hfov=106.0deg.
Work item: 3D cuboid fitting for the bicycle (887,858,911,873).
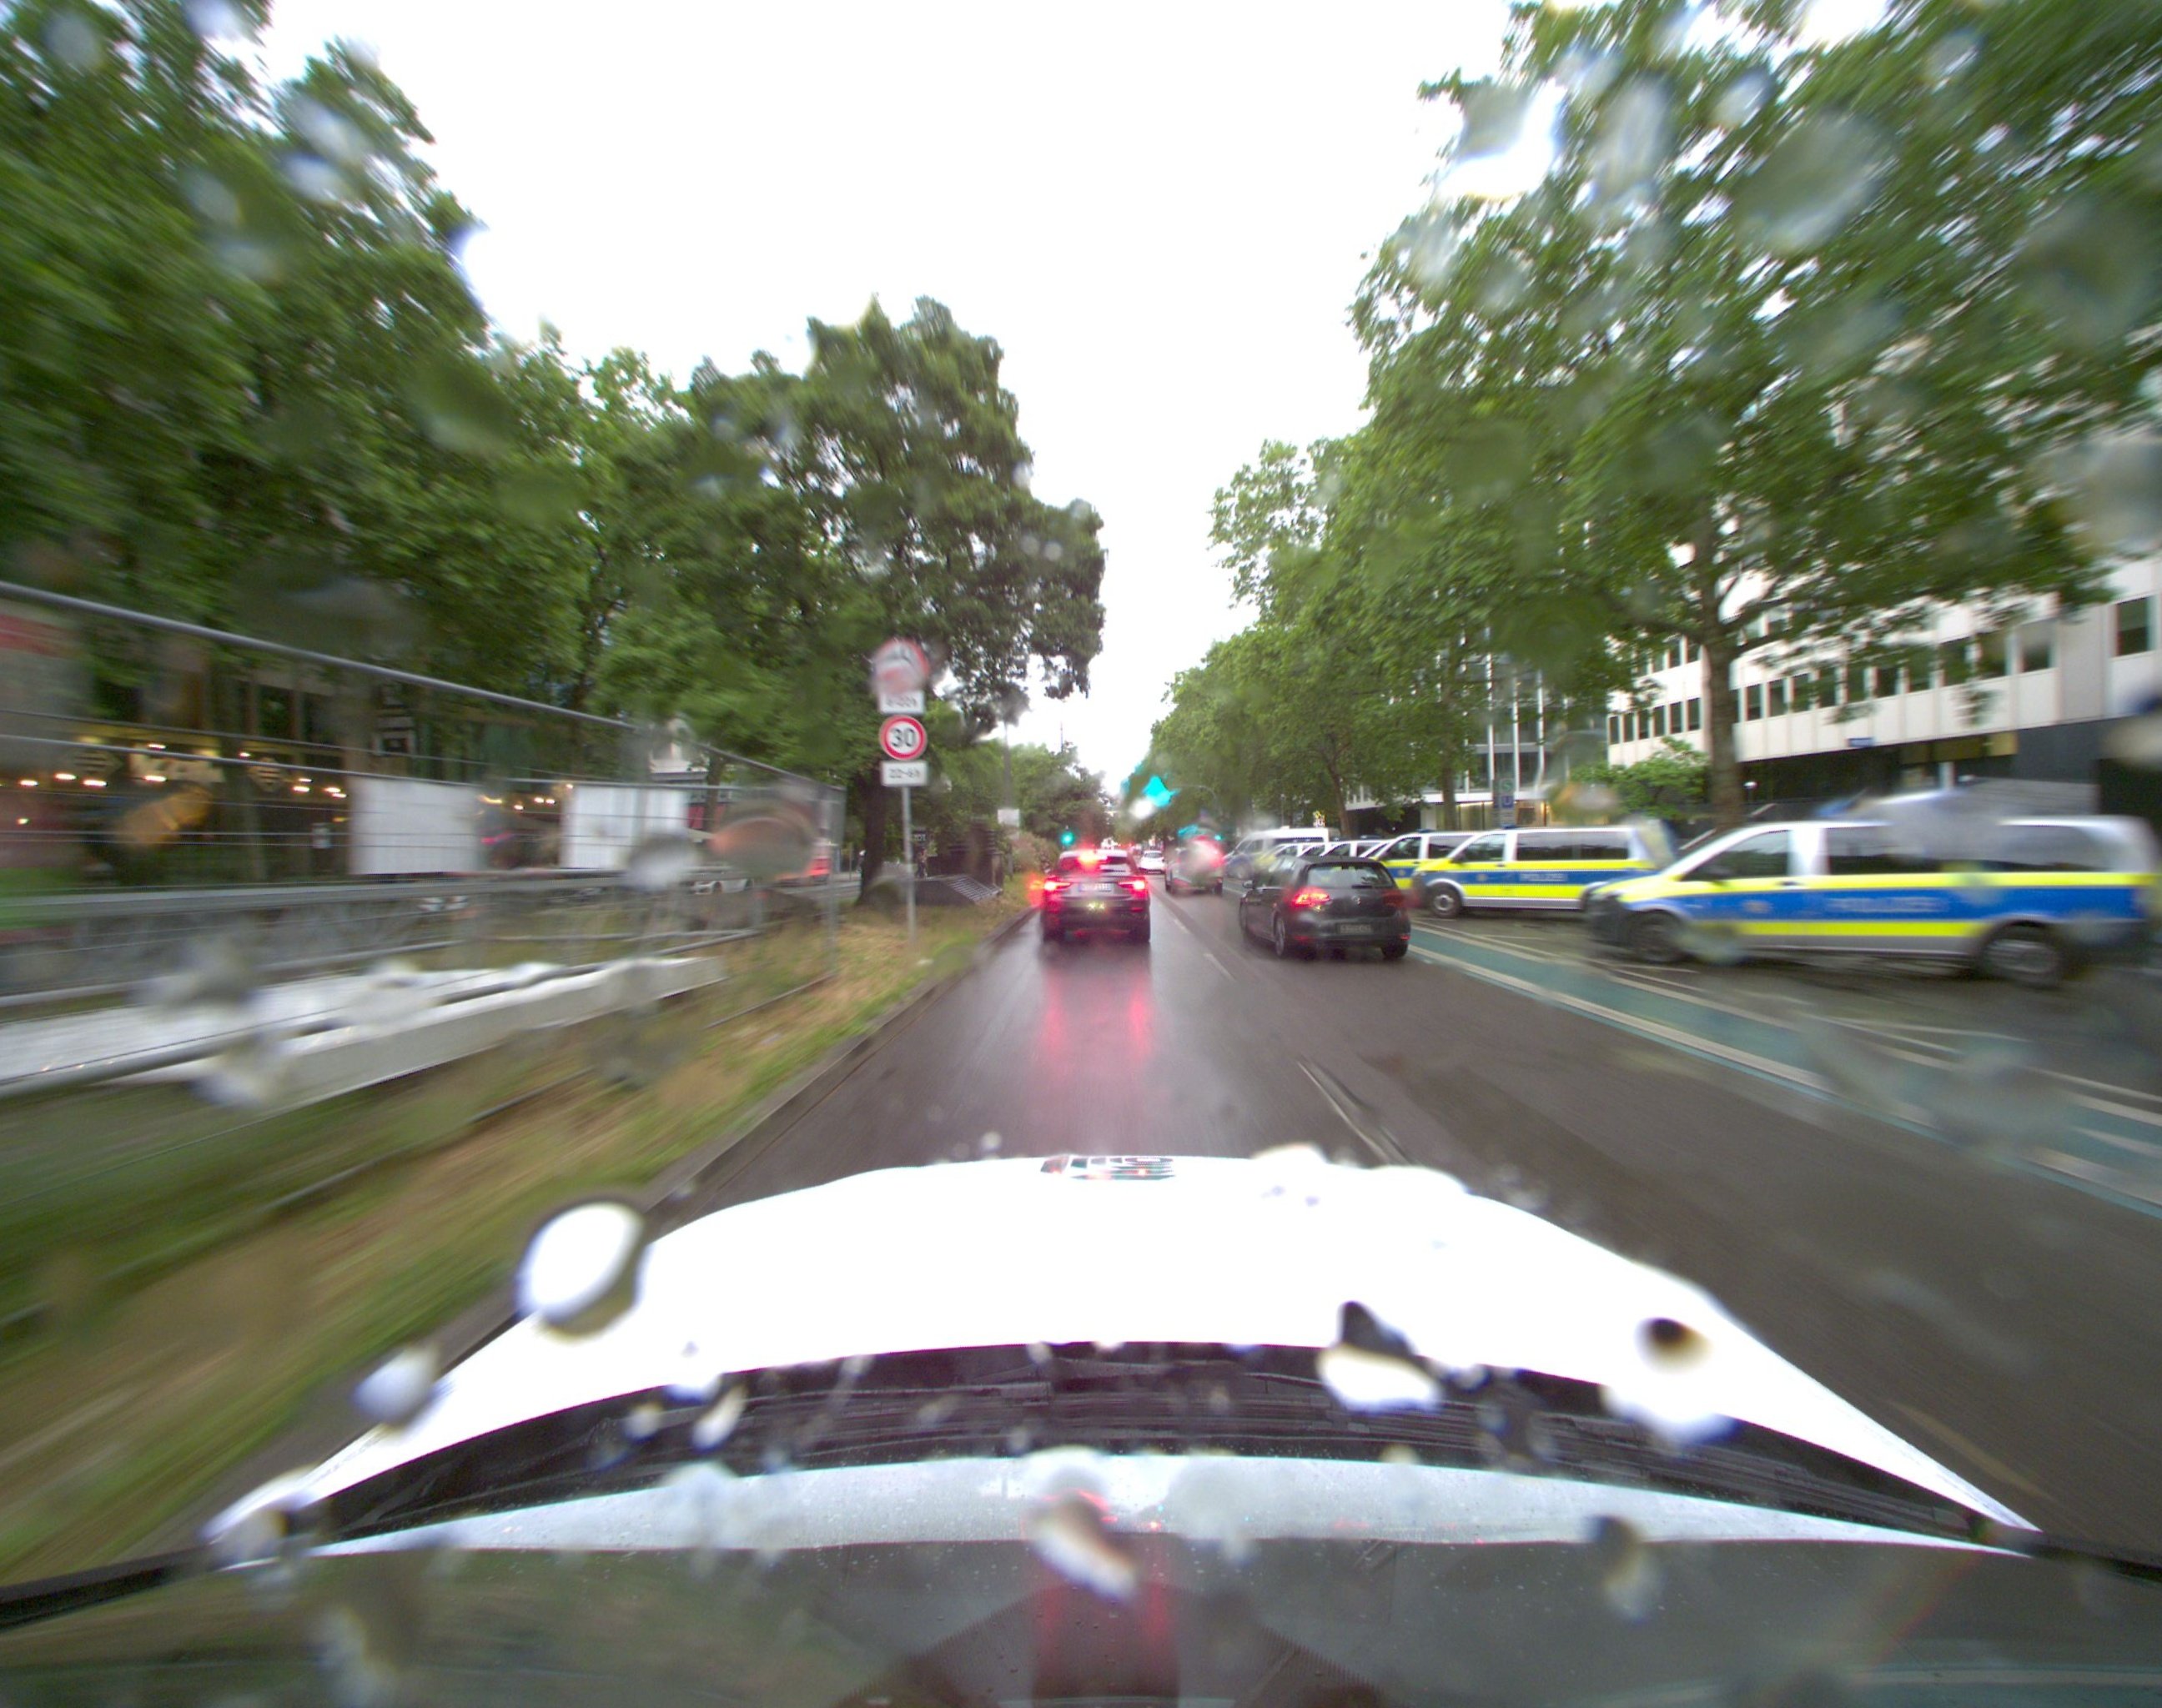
[{"bbox_3d":[-15.183,0.939,67.857,1.841,1.149,0.565,-2,0,-5],"label":"bicycle"}]

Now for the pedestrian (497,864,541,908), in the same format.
[{"bbox_3d":[-18.307,1.032,26.529,0.761,1.380,0.933,-1,0,-1],"label":"pedestrian"}]

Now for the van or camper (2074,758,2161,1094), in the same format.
[{"bbox_3d":[8.707,0.417,3.783,4.884,1.992,2.015,0,0,40],"label":"van or camper"}]

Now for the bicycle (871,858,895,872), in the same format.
[{"bbox_3d":[-15.969,0.891,65.671,1.818,1.097,0.565,-1,0,-6],"label":"bicycle"}]

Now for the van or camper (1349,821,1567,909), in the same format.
[{"bbox_3d":[9.632,0.273,20.993,4.733,2.011,2.013,-1,0,38],"label":"van or camper"}]

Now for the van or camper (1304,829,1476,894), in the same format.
[{"bbox_3d":[10.440,0.250,27.761,5.042,2.025,2.119,-1,0,39],"label":"van or camper"}]

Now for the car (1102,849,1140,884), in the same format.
[{"bbox_3d":[1.899,0.554,39.493,1.715,1.577,3.963,-1,0,2],"label":"car"}]

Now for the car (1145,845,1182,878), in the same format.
[{"bbox_3d":[4.679,0.417,46.517,1.815,1.750,4.003,-2,0,2],"label":"car"}]

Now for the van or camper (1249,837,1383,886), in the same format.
[{"bbox_3d":[10.020,0.308,34.897,5.142,1.992,2.013,0,0,36],"label":"van or camper"}]

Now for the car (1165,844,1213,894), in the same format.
[{"bbox_3d":[3.867,0.510,29.456,1.427,1.685,2.981,-2,0,2],"label":"car"}]

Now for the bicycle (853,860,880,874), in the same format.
[{"bbox_3d":[-16.029,0.953,60.927,1.839,0.979,0.566,-1,0,-1],"label":"bicycle"}]

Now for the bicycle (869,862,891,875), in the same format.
[{"bbox_3d":[-15.787,1.113,64.001,1.615,0.962,0.508,-1,0,-6],"label":"bicycle"}]

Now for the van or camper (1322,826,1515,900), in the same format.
[{"bbox_3d":[9.987,0.284,24.255,4.959,1.995,2.013,-1,0,34],"label":"van or camper"}]

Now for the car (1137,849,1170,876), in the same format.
[{"bbox_3d":[4.897,0.535,55.275,1.986,1.750,4.003,-2,0,2],"label":"car"}]

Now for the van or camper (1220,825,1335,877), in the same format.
[{"bbox_3d":[10.780,-0.151,44.857,5.741,2.677,2.161,-1,0,39],"label":"van or camper"}]

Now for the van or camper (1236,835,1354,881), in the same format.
[{"bbox_3d":[10.083,0.225,38.563,4.952,2.014,2.013,-2,-1,37],"label":"van or camper"}]

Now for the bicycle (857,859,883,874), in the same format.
[{"bbox_3d":[-16.007,0.922,61.818,1.842,1.098,0.613,-1,0,-6],"label":"bicycle"}]

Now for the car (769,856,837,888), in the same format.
[{"bbox_3d":[-14.743,0.900,43.435,1.987,1.509,4.518,-2,0,0],"label":"car"}]

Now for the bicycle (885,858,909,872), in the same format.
[{"bbox_3d":[-15.161,0.897,67.234,1.841,1.136,0.565,-2,0,-5],"label":"bicycle"}]

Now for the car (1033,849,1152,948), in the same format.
[{"bbox_3d":[0.319,0.689,15.130,1.855,1.532,4.531,-1,0,3],"label":"car"}]

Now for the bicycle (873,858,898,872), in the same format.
[{"bbox_3d":[-15.953,0.906,66.472,1.842,1.136,0.565,-1,0,-6],"label":"bicycle"}]

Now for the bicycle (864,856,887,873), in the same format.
[{"bbox_3d":[-15.793,0.832,62.572,1.615,1.241,0.508,-1,0,-6],"label":"bicycle"}]

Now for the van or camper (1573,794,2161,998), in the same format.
[{"bbox_3d":[9.321,0.399,10.375,5.023,2.019,2.010,0,0,38],"label":"van or camper"}]

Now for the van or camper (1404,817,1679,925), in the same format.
[{"bbox_3d":[9.592,0.329,17.179,4.792,1.998,1.880,-1,0,38],"label":"van or camper"}]

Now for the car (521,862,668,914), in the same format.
[{"bbox_3d":[-15.306,1.012,25.934,1.818,1.394,4.486,-1,0,2],"label":"car"}]

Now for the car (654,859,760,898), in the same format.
[{"bbox_3d":[-14.969,0.922,32.905,1.986,1.370,4.542,1,1,2],"label":"car"}]

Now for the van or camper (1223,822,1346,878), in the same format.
[{"bbox_3d":[10.373,-0.178,41.809,5.736,2.680,2.013,-1,0,37],"label":"van or camper"}]

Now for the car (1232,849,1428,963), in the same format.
[{"bbox_3d":[3.609,0.668,12.579,1.759,1.412,3.999,-2,0,0],"label":"car"}]
